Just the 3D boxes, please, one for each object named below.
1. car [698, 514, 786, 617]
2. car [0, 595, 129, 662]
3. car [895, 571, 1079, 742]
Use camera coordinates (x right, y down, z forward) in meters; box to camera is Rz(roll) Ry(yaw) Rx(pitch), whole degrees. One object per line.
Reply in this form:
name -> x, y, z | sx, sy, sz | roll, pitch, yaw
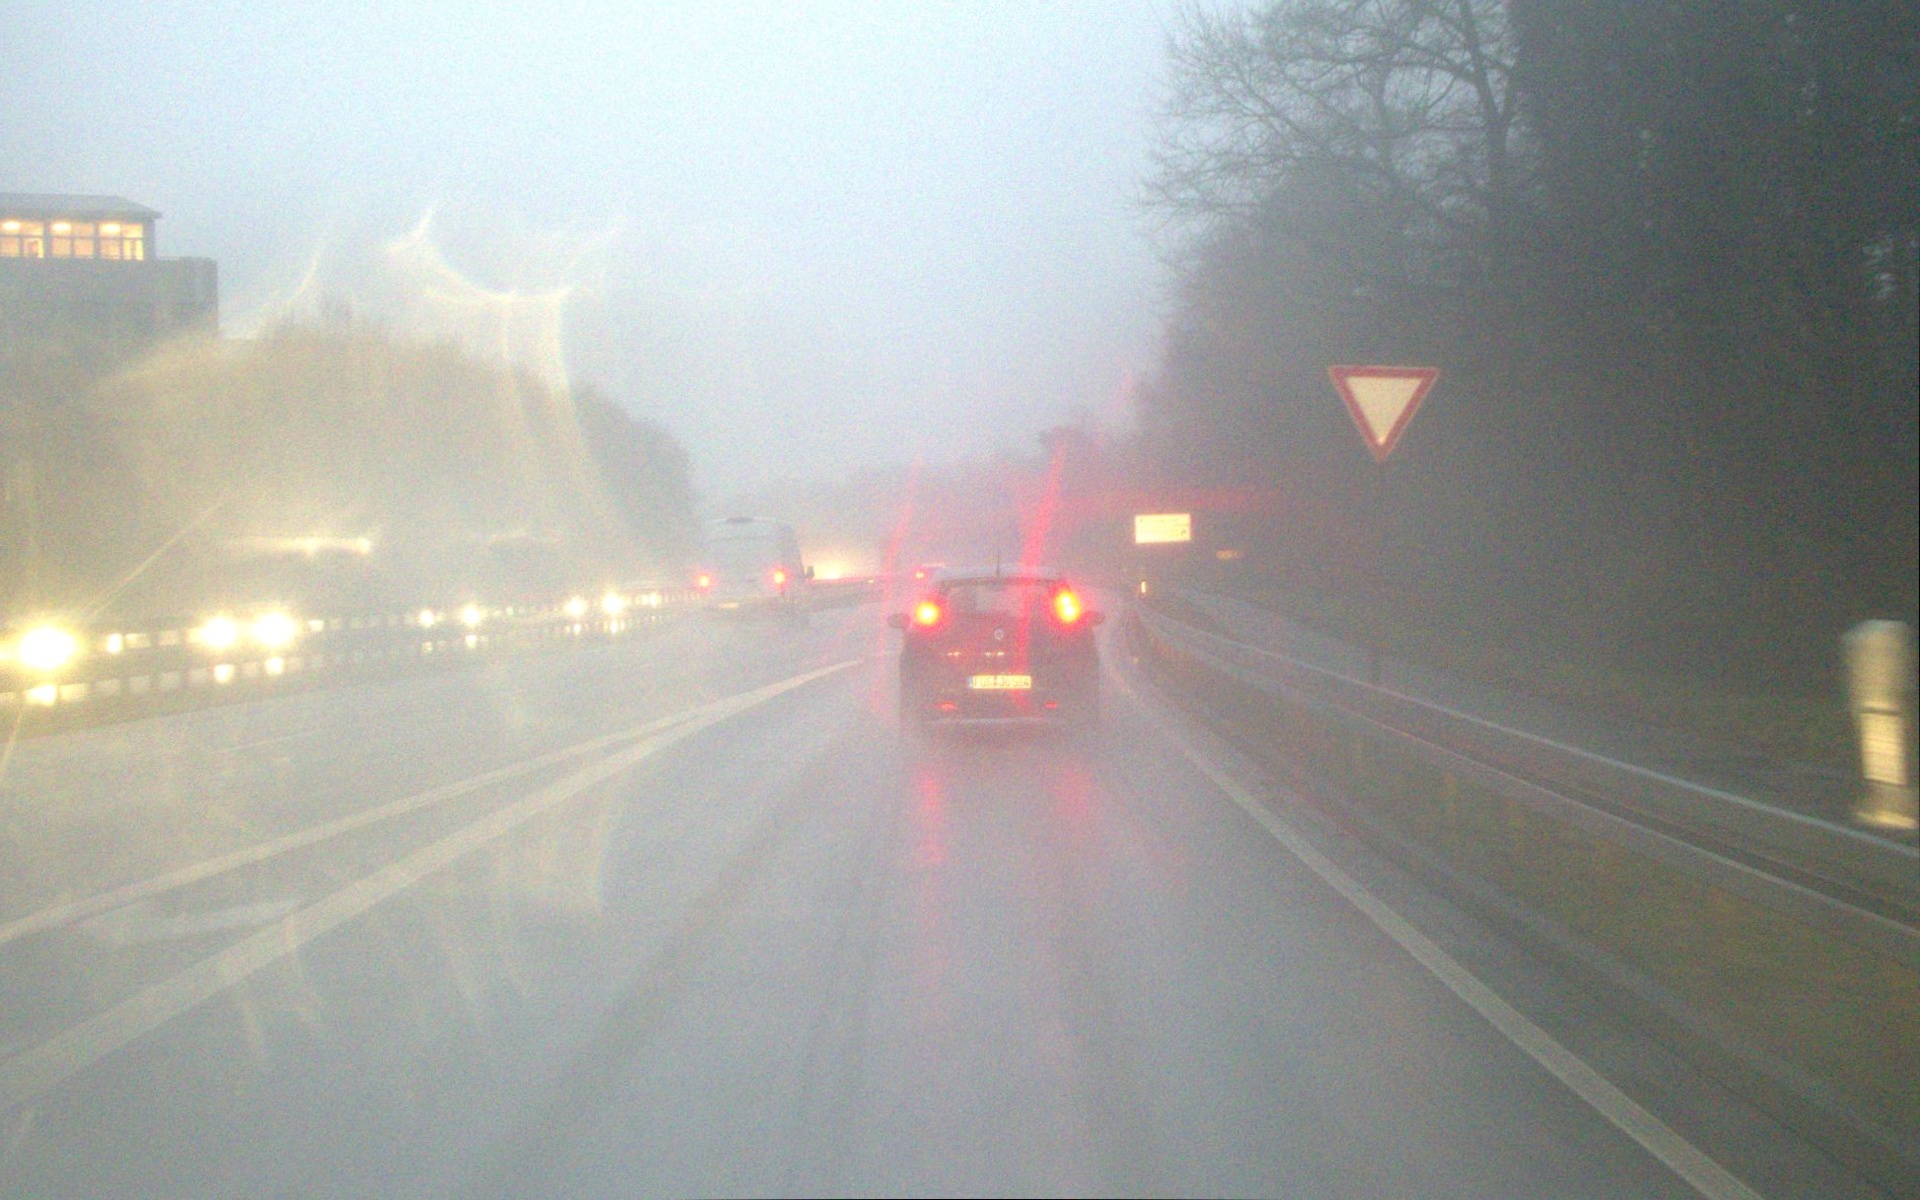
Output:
car -> -5.284, -0.846, 83.647 | 2.000, 2.445, 4.000 | 0, 1, -2
car -> -18.888, 0.575, 71.896 | 1.710, 1.317, 4.472 | 0, 1, 3
car -> 0.230, 0.451, 30.322 | 1.527, 1.411, 3.479 | 0, 1, 0
